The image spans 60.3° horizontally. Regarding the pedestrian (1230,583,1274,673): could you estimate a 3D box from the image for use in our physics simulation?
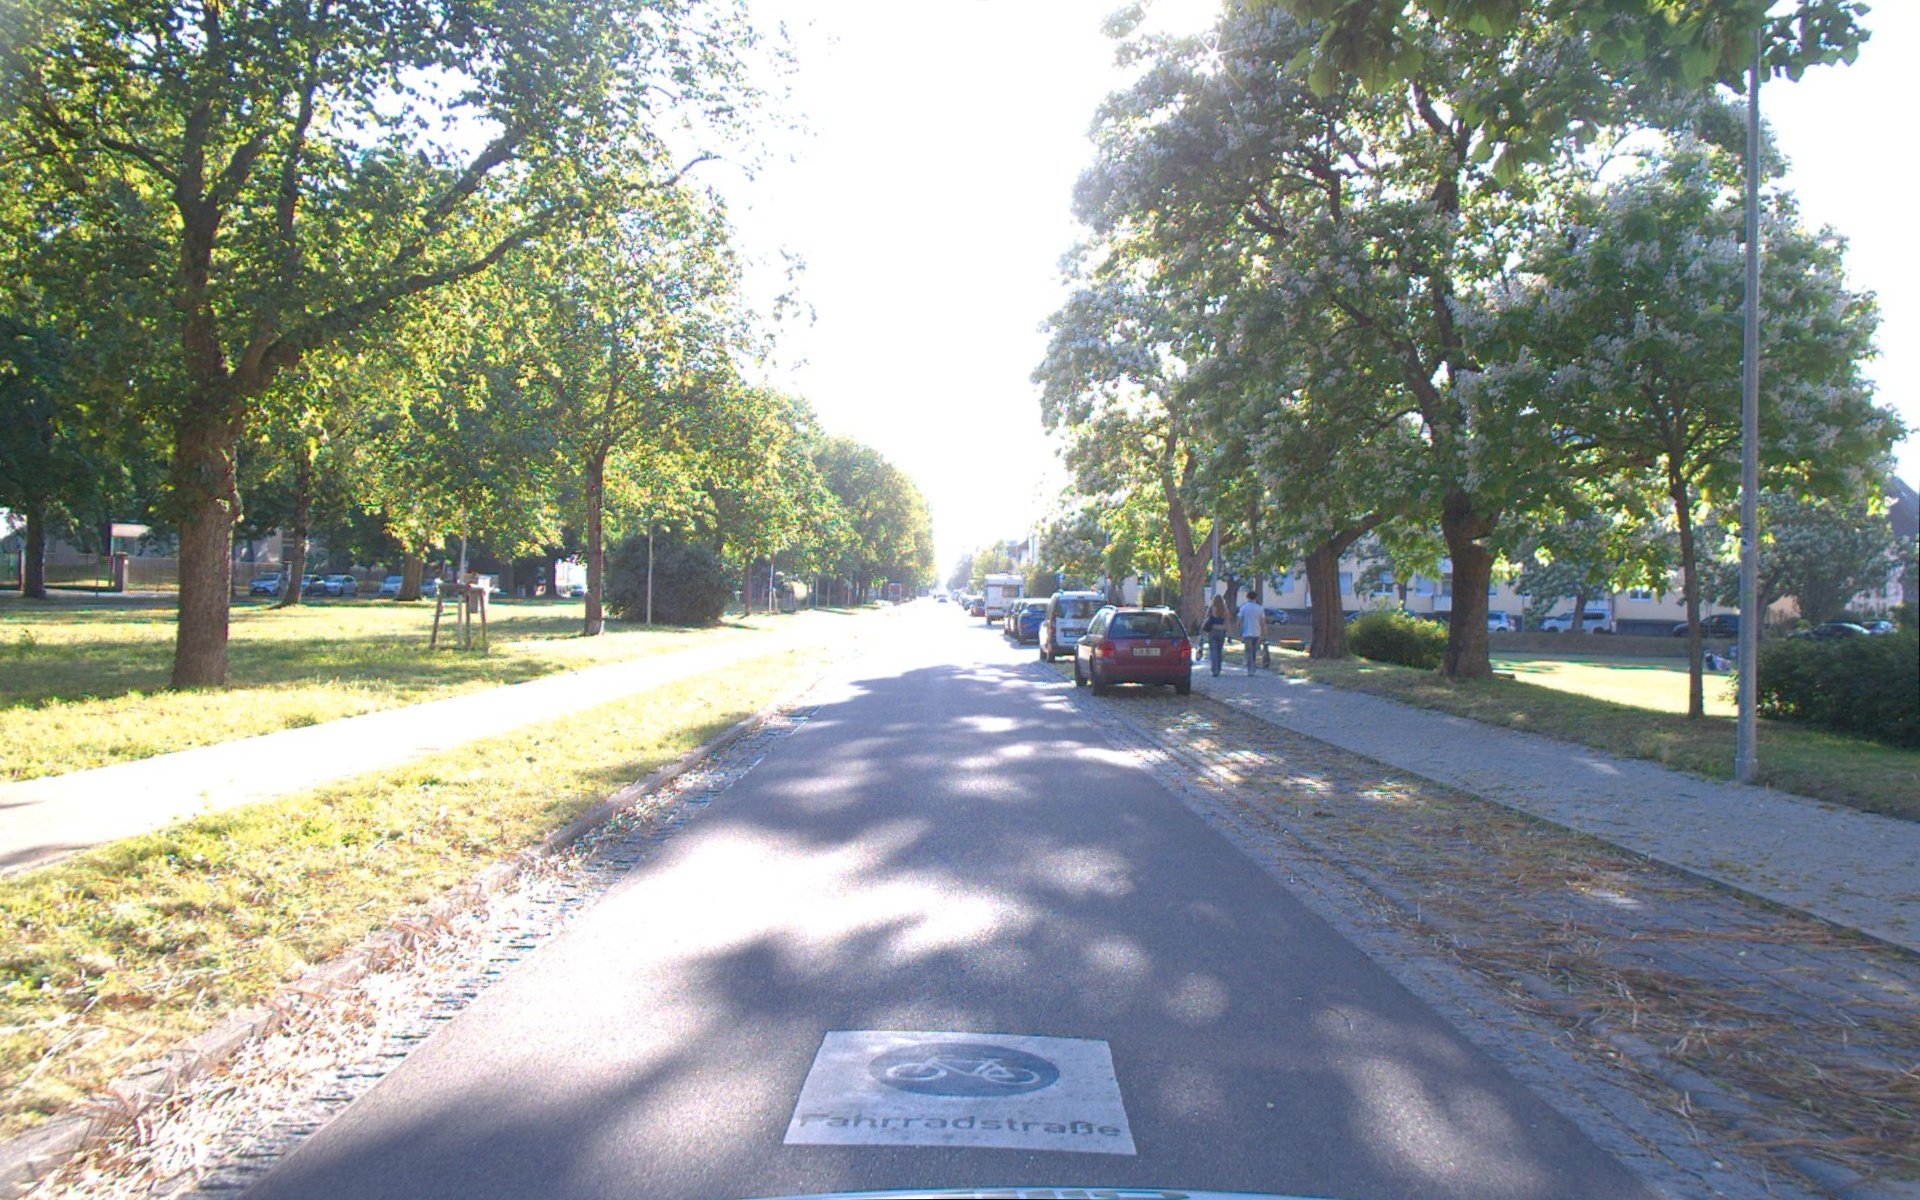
[{"bbox_3d":[5.895,0.553,33.421,0.710,1.766,0.731,2,0,0],"label":"pedestrian"}]

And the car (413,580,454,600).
[{"bbox_3d":[-42.251,-0.784,132.771,1.953,1.534,4.115,1,0,0],"label":"car"}]

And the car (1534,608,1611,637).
[{"bbox_3d":[40.185,1.470,108.608,4.433,1.776,1.874,1,-1,35],"label":"car"}]

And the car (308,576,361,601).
[{"bbox_3d":[-42.255,-0.755,111.796,1.953,1.534,4.115,1,0,0],"label":"car"}]

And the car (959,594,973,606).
[{"bbox_3d":[0.686,0.008,191.585,1.593,1.434,4.248,1,0,-1],"label":"car"}]

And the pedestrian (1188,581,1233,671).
[{"bbox_3d":[5.049,0.525,33.376,0.738,1.766,0.731,2,0,0],"label":"pedestrian"}]

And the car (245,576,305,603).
[{"bbox_3d":[-41.995,-0.642,101.455,1.953,1.534,4.000,1,0,0],"label":"car"}]

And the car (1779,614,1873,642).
[{"bbox_3d":[48.940,1.592,93.520,1.861,1.478,4.308,2,-1,-38],"label":"car"}]

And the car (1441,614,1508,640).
[{"bbox_3d":[32.995,1.749,106.121,3.910,1.579,1.608,1,-1,27],"label":"car"}]

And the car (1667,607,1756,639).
[{"bbox_3d":[44.502,1.370,98.005,4.448,1.776,1.868,1,-1,43],"label":"car"}]

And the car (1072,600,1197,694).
[{"bbox_3d":[3.037,0.788,29.683,1.644,1.512,4.808,1,0,-1],"label":"car"}]

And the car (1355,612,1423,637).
[{"bbox_3d":[29.744,1.710,114.571,4.417,1.597,1.881,1,-1,18],"label":"car"}]

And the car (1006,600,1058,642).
[{"bbox_3d":[2.791,0.822,65.173,1.697,1.578,4.421,1,0,-2],"label":"car"}]

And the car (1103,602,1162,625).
[{"bbox_3d":[12.303,0.983,118.463,4.107,1.557,2.001,1,-1,3],"label":"car"}]

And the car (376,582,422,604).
[{"bbox_3d":[-42.025,-0.499,123.953,1.953,1.534,4.115,1,0,0],"label":"car"}]

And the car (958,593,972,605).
[{"bbox_3d":[0.568,-0.124,202.576,1.593,1.434,4.248,1,0,-1],"label":"car"}]

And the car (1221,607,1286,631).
[{"bbox_3d":[19.725,1.268,111.100,4.106,1.488,1.694,1,-1,15],"label":"car"}]

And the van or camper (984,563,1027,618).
[{"bbox_3d":[2.593,-0.501,96.319,2.189,2.955,5.671,1,-1,-1],"label":"van or camper"}]

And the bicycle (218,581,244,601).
[{"bbox_3d":[-43.967,-0.536,99.814,0.644,1.196,2.332,1,-1,-3],"label":"bicycle"}]

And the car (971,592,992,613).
[{"bbox_3d":[1.818,0.255,137.761,1.593,1.698,4.248,1,0,-1],"label":"car"}]

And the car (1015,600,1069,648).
[{"bbox_3d":[2.885,0.841,58.922,1.696,1.578,4.275,1,0,0],"label":"car"}]

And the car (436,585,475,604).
[{"bbox_3d":[-42.297,-0.454,138.862,1.953,1.534,4.115,1,0,0],"label":"car"}]

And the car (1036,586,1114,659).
[{"bbox_3d":[2.978,0.582,43.506,1.644,1.770,4.513,1,0,-1],"label":"car"}]

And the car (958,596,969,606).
[{"bbox_3d":[0.515,0.113,238.782,1.593,1.434,4.248,1,0,-1],"label":"car"}]

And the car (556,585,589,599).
[{"bbox_3d":[-43.990,-0.900,187.888,2.456,1.534,4.912,1,0,0],"label":"car"}]
